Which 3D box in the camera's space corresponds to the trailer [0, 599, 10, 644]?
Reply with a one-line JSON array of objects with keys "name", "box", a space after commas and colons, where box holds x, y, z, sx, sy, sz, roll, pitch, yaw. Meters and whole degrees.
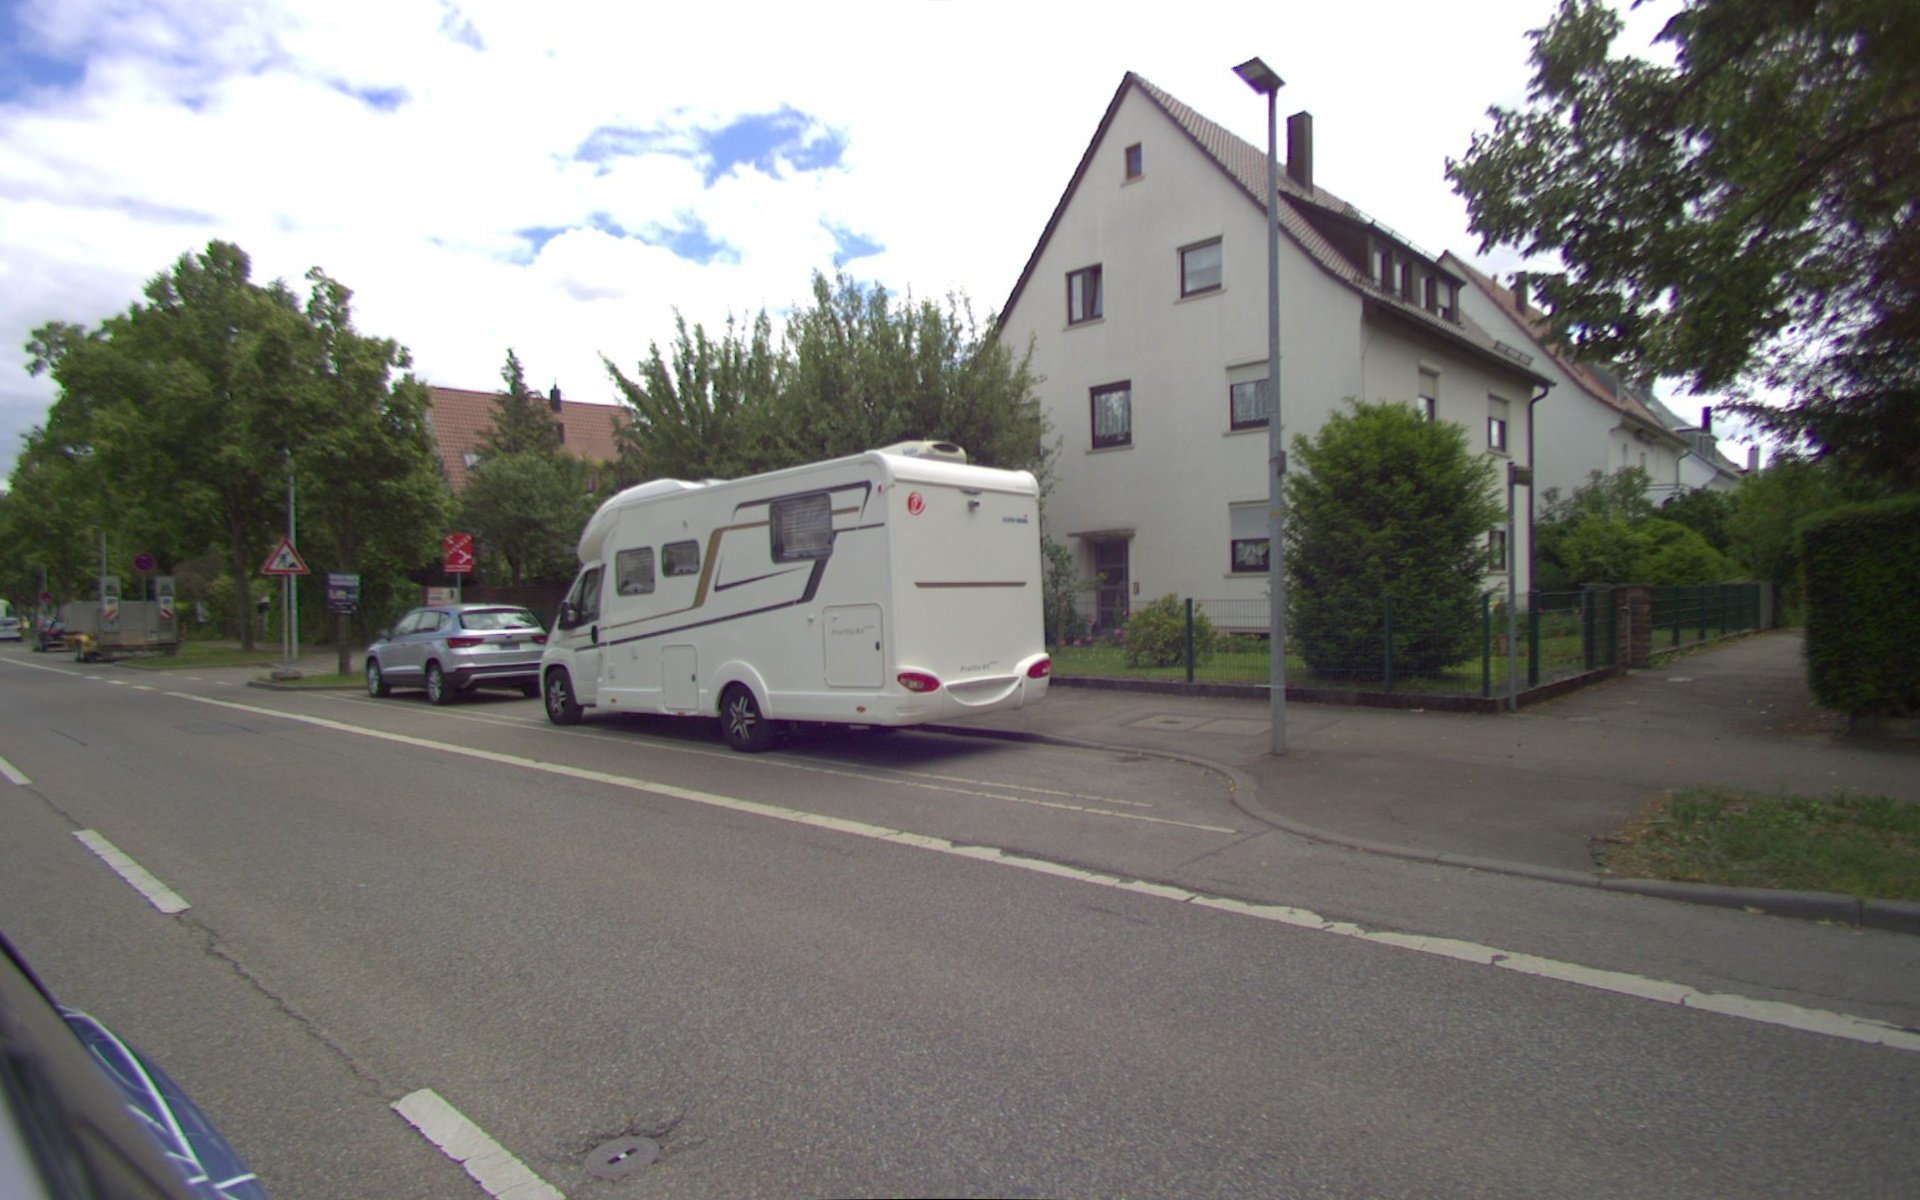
[{"name": "trailer", "box": [-66.124, 1.480, 68.734, 2.344, 2.985, 7.016, 0, -1, -43]}]

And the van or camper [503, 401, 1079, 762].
[{"name": "van or camper", "box": [-2.470, -0.105, 11.957, 7.690, 3.032, 2.409, -1, -1, 42]}]

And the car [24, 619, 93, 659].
[{"name": "car", "box": [-41.461, 1.762, 46.498, 4.619, 1.564, 1.841, 1, 2, 42]}]

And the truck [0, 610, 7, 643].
[{"name": "truck", "box": [-70.802, 1.946, 73.564, 2.268, 2.304, 6.469, 0, -1, -43]}]

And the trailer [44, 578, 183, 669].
[{"name": "trailer", "box": [-30.755, 0.771, 36.632, 7.471, 2.963, 2.646, 0, 1, 41]}]

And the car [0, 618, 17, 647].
[{"name": "car", "box": [-61.187, 2.051, 64.201, 4.225, 1.696, 1.670, 0, 1, 43]}]

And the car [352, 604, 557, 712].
[{"name": "car", "box": [-8.817, 0.921, 17.492, 4.271, 1.612, 1.704, -1, 0, 42]}]
